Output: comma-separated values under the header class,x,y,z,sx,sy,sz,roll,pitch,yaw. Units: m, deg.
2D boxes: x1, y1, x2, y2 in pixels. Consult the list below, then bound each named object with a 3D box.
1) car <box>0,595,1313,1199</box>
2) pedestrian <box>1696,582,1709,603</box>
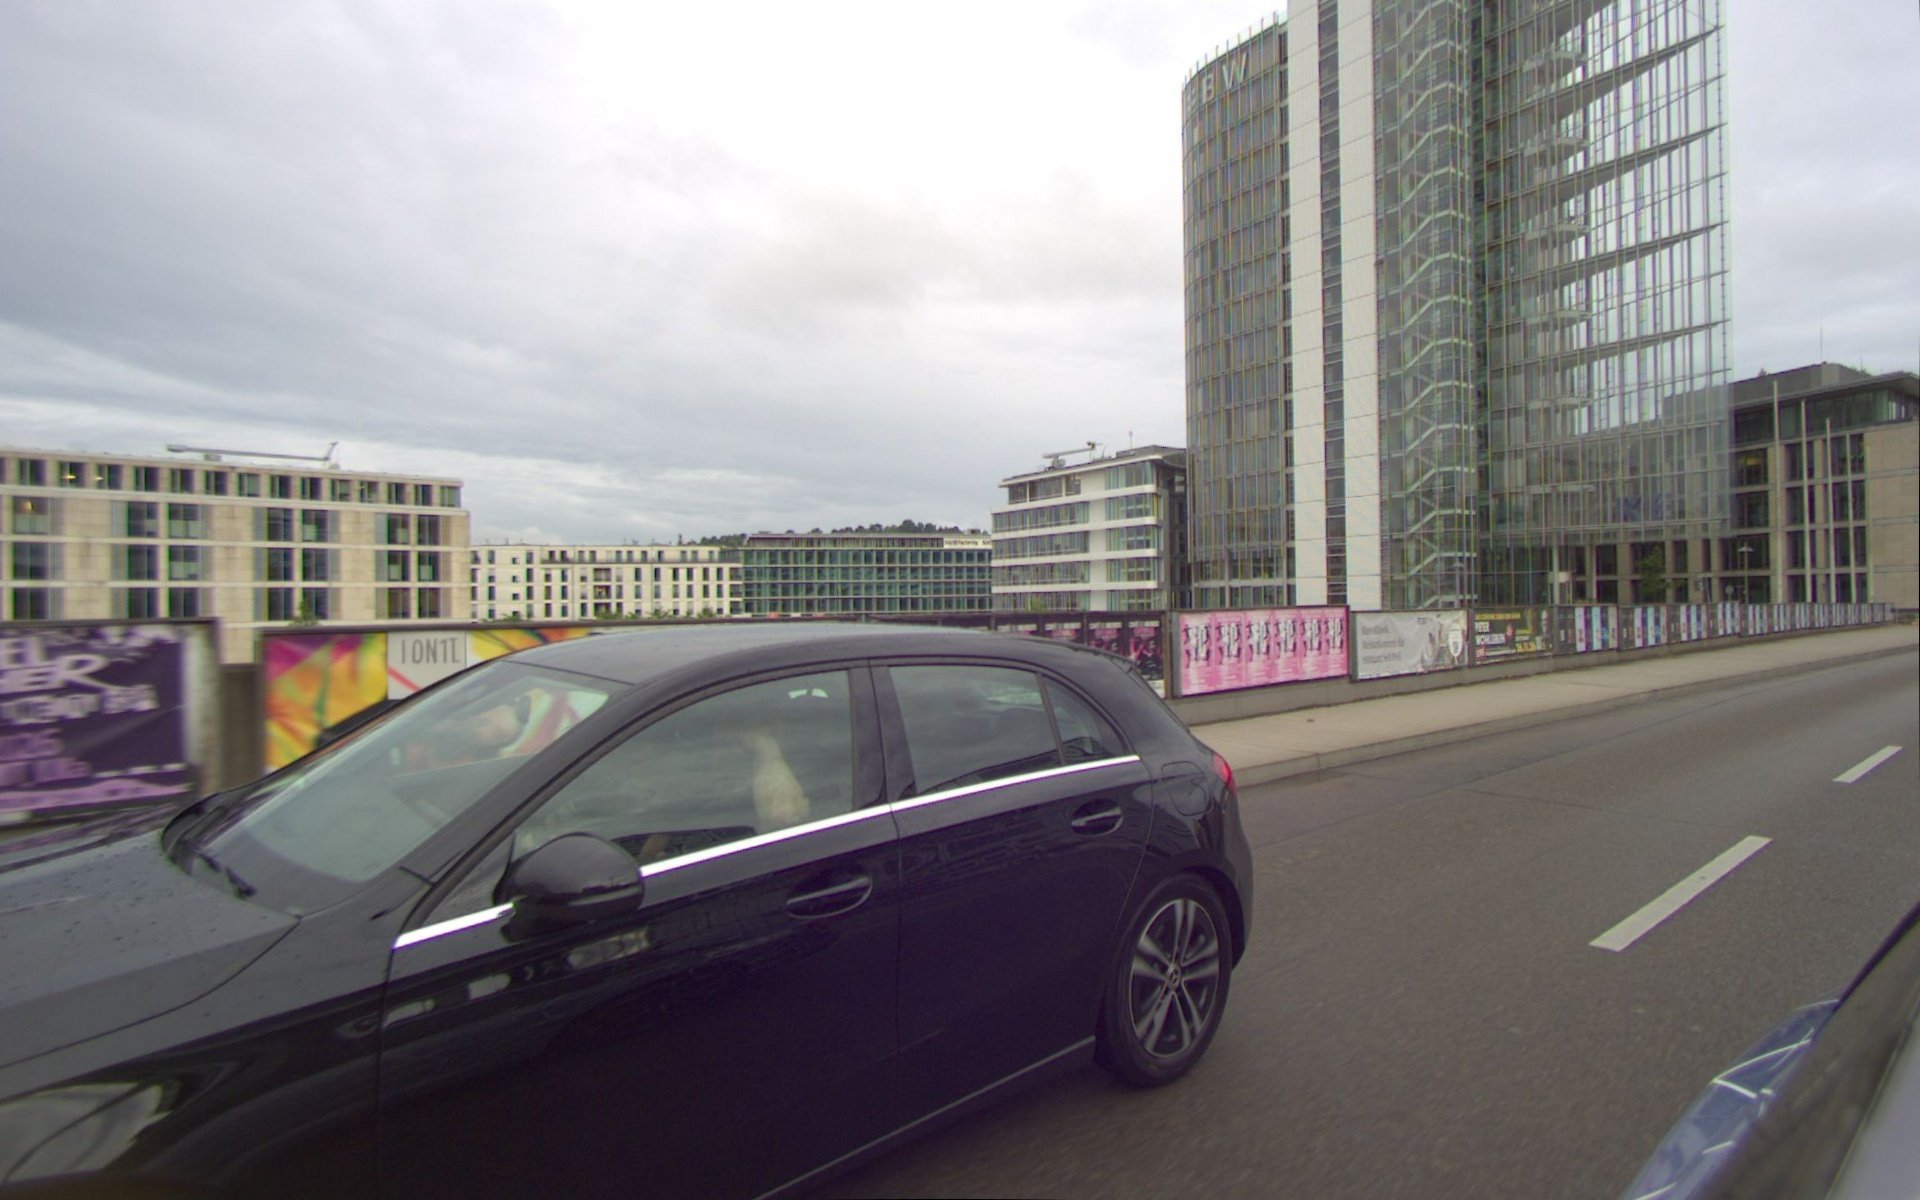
class,x,y,z,sx,sy,sz,roll,pitch,yaw
car,-0.854,0.729,2.824,4.085,1.393,1.725,-2,1,-42
pedestrian,65.315,-0.658,89.062,0.621,1.767,0.637,-1,0,-15
